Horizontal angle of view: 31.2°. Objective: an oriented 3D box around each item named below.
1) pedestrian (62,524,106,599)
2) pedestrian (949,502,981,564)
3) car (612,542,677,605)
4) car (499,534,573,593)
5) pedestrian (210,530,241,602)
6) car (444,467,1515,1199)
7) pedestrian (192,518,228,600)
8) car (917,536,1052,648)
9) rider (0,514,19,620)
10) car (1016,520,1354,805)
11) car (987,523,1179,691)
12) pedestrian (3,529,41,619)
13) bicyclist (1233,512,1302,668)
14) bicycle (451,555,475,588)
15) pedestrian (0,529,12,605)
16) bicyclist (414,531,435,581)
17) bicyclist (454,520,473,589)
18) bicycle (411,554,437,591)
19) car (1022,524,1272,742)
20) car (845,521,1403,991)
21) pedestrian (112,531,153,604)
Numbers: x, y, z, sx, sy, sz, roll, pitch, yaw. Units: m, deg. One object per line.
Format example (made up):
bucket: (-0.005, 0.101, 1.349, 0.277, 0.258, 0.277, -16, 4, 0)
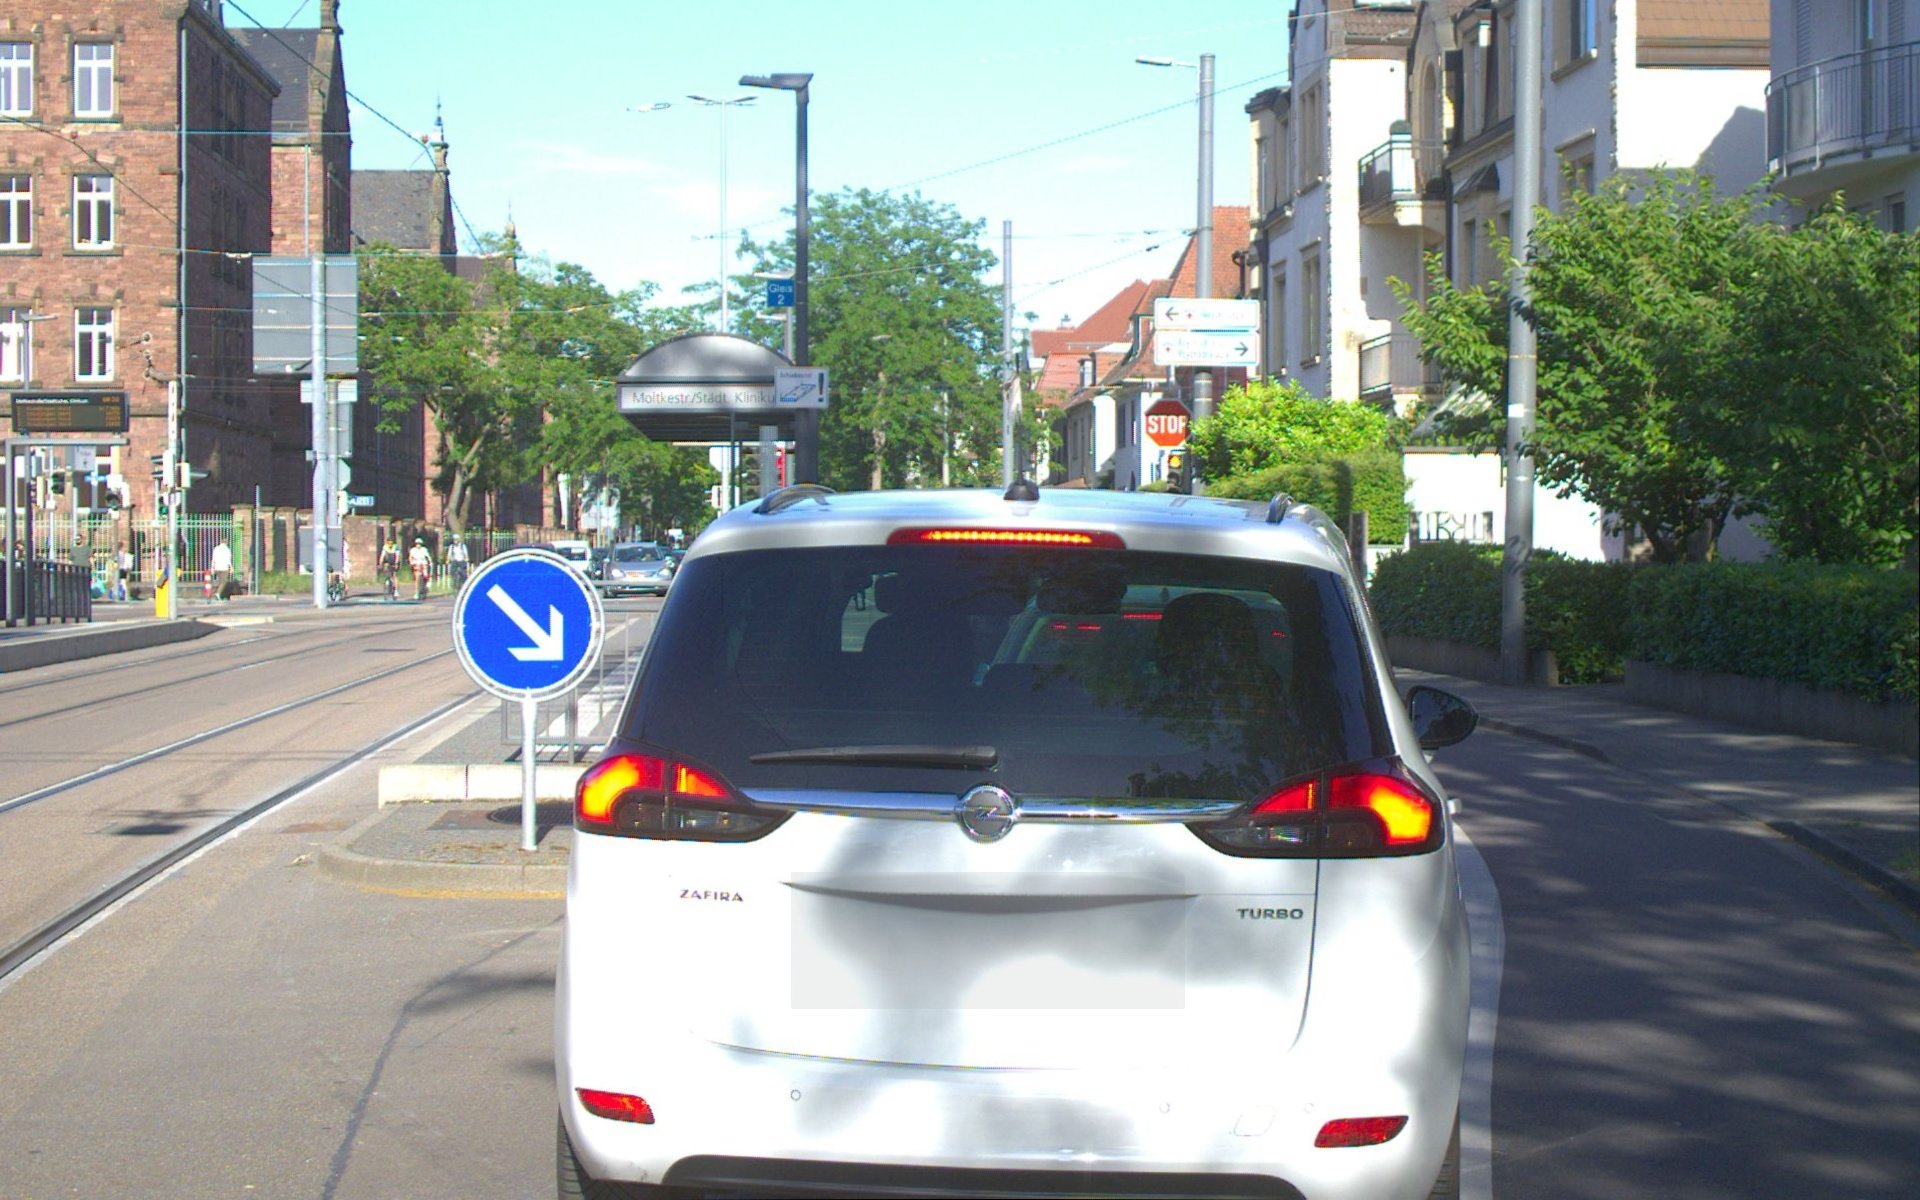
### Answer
pedestrian: (-22.351, -0.984, 87.682, 0.808, 1.894, 0.743, 1, 0, 14)
pedestrian: (0.166, -2.043, 105.436, 0.808, 1.894, 0.743, 1, 0, 14)
car: (-8.827, -0.748, 96.311, 1.746, 1.710, 4.001, 1, 1, -5)
car: (-12.688, -1.087, 103.065, 1.746, 1.710, 4.000, 1, 1, -1)
pedestrian: (-20.635, -0.959, 96.599, 0.689, 2.007, 0.617, 1, 0, 5)
car: (0.248, 0.557, 8.082, 1.907, 1.656, 3.999, 0, 1, 7)
pedestrian: (-18.531, -1.009, 84.962, 0.794, 2.007, 0.721, 1, 0, -17)
car: (0.338, -0.156, 53.078, 1.907, 1.656, 4.001, 0, 1, -2)
rider: (-16.532, -0.557, 57.779, 0.795, 1.776, 2.488, 1, 1, -2)
car: (1.506, 0.316, 21.603, 1.907, 1.619, 3.999, 0, 1, 7)
car: (1.245, 0.032, 36.100, 1.907, 1.656, 4.000, 0, 1, 1)
pedestrian: (-21.200, -0.592, 77.686, 0.794, 2.007, 1.047, 1, 0, -15)
bicyclist: (3.294, -0.113, 36.852, 0.676, 1.652, 0.745, 0, 1, 1)
bicycle: (-14.611, -0.841, 101.121, 0.487, 0.968, 1.405, 1, 1, 0)
pedestrian: (-22.520, -0.766, 80.131, 0.766, 1.768, 0.721, 1, 0, -17)
bicyclist: (-15.759, -1.296, 101.171, 0.531, 1.472, 0.572, 1, 0, -1)
bicyclist: (-14.612, -1.330, 101.163, 0.488, 2.007, 0.502, 1, 0, -1)
bicycle: (-15.772, -0.817, 101.213, 0.509, 1.073, 1.739, 1, 1, -1)
car: (1.569, 0.214, 28.263, 1.907, 1.656, 4.000, 0, 1, 4)
car: (0.785, 0.491, 13.764, 1.907, 1.592, 3.999, 0, 1, 7)
pedestrian: (-22.637, -0.889, 94.041, 0.719, 2.007, 0.796, 1, 0, 28)
